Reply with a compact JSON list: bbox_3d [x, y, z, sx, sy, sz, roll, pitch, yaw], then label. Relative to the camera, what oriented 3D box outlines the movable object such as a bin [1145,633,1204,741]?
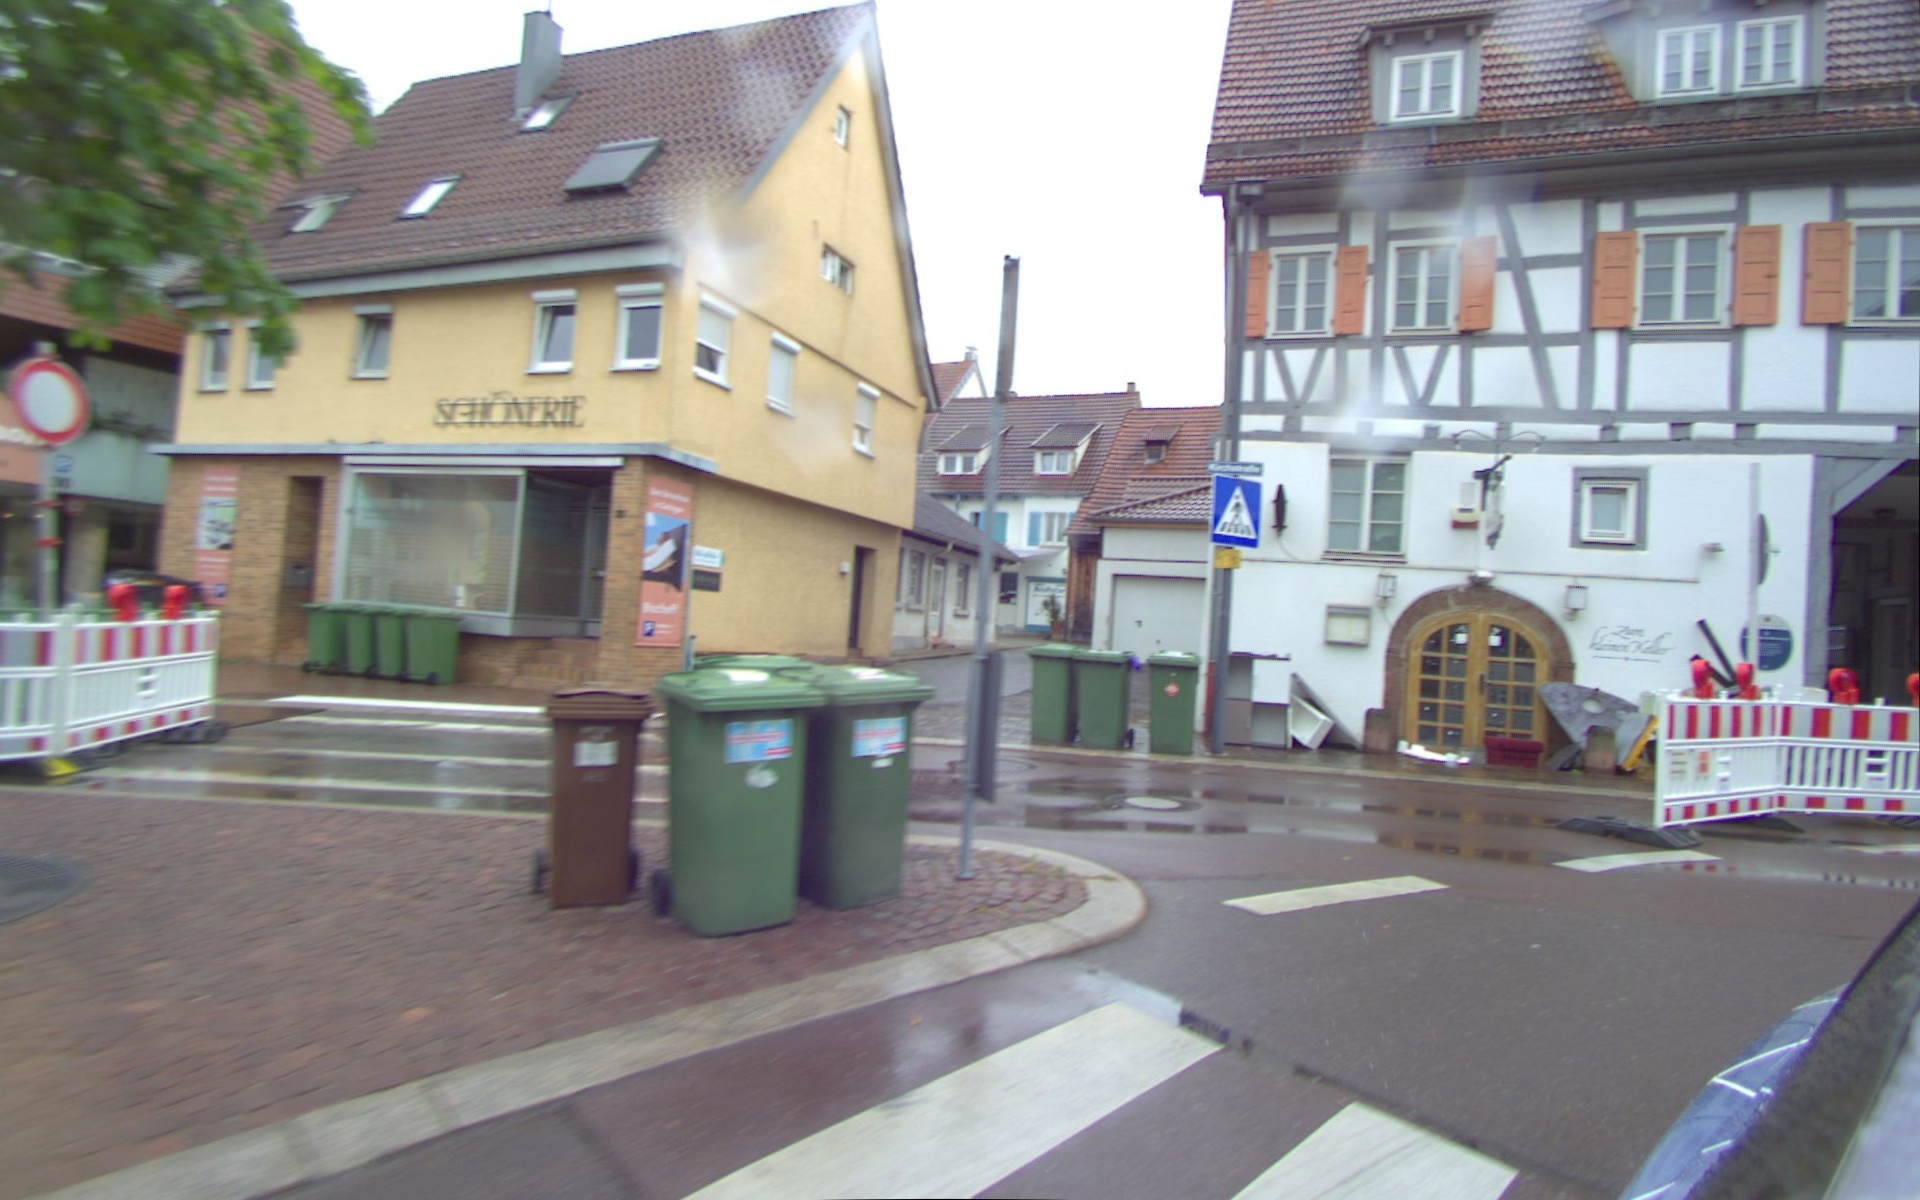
[{"bbox_3d":[2.320,0.927,10.998,0.531,1.079,0.679,4,-1,9],"label":"movable object such as a bin"}]

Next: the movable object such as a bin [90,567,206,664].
[{"bbox_3d":[-13.714,0.244,17.114,1.228,1.531,1.060,2,1,23],"label":"movable object such as a bin"}]

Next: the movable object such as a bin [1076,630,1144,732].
[{"bbox_3d":[1.668,0.878,11.224,0.535,1.079,0.611,0,-1,32],"label":"movable object such as a bin"}]

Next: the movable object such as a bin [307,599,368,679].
[{"bbox_3d":[-9.299,0.565,15.126,0.572,1.142,0.514,3,1,19],"label":"movable object such as a bin"}]

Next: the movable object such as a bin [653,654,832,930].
[{"bbox_3d":[-0.940,0.771,4.360,0.532,1.050,0.571,2,-2,-41],"label":"movable object such as a bin"}]

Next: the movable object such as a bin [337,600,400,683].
[{"bbox_3d":[-8.709,0.598,14.912,0.572,1.147,0.514,4,1,19],"label":"movable object such as a bin"}]

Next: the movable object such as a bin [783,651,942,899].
[{"bbox_3d":[-0.461,0.774,4.767,0.535,1.046,0.533,2,-2,-41],"label":"movable object such as a bin"}]

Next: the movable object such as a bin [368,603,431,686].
[{"bbox_3d":[-8.143,0.631,14.707,0.572,1.143,0.514,3,1,19],"label":"movable object such as a bin"}]

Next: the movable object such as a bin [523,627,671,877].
[{"bbox_3d":[-1.642,0.638,4.559,0.501,1.017,0.568,2,-1,-32],"label":"movable object such as a bin"}]

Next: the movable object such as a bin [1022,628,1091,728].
[{"bbox_3d":[1.110,0.871,11.601,0.580,1.079,0.674,1,-1,26],"label":"movable object such as a bin"}]

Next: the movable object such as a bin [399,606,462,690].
[{"bbox_3d":[-7.581,0.675,14.499,0.572,1.146,0.516,3,1,19],"label":"movable object such as a bin"}]
